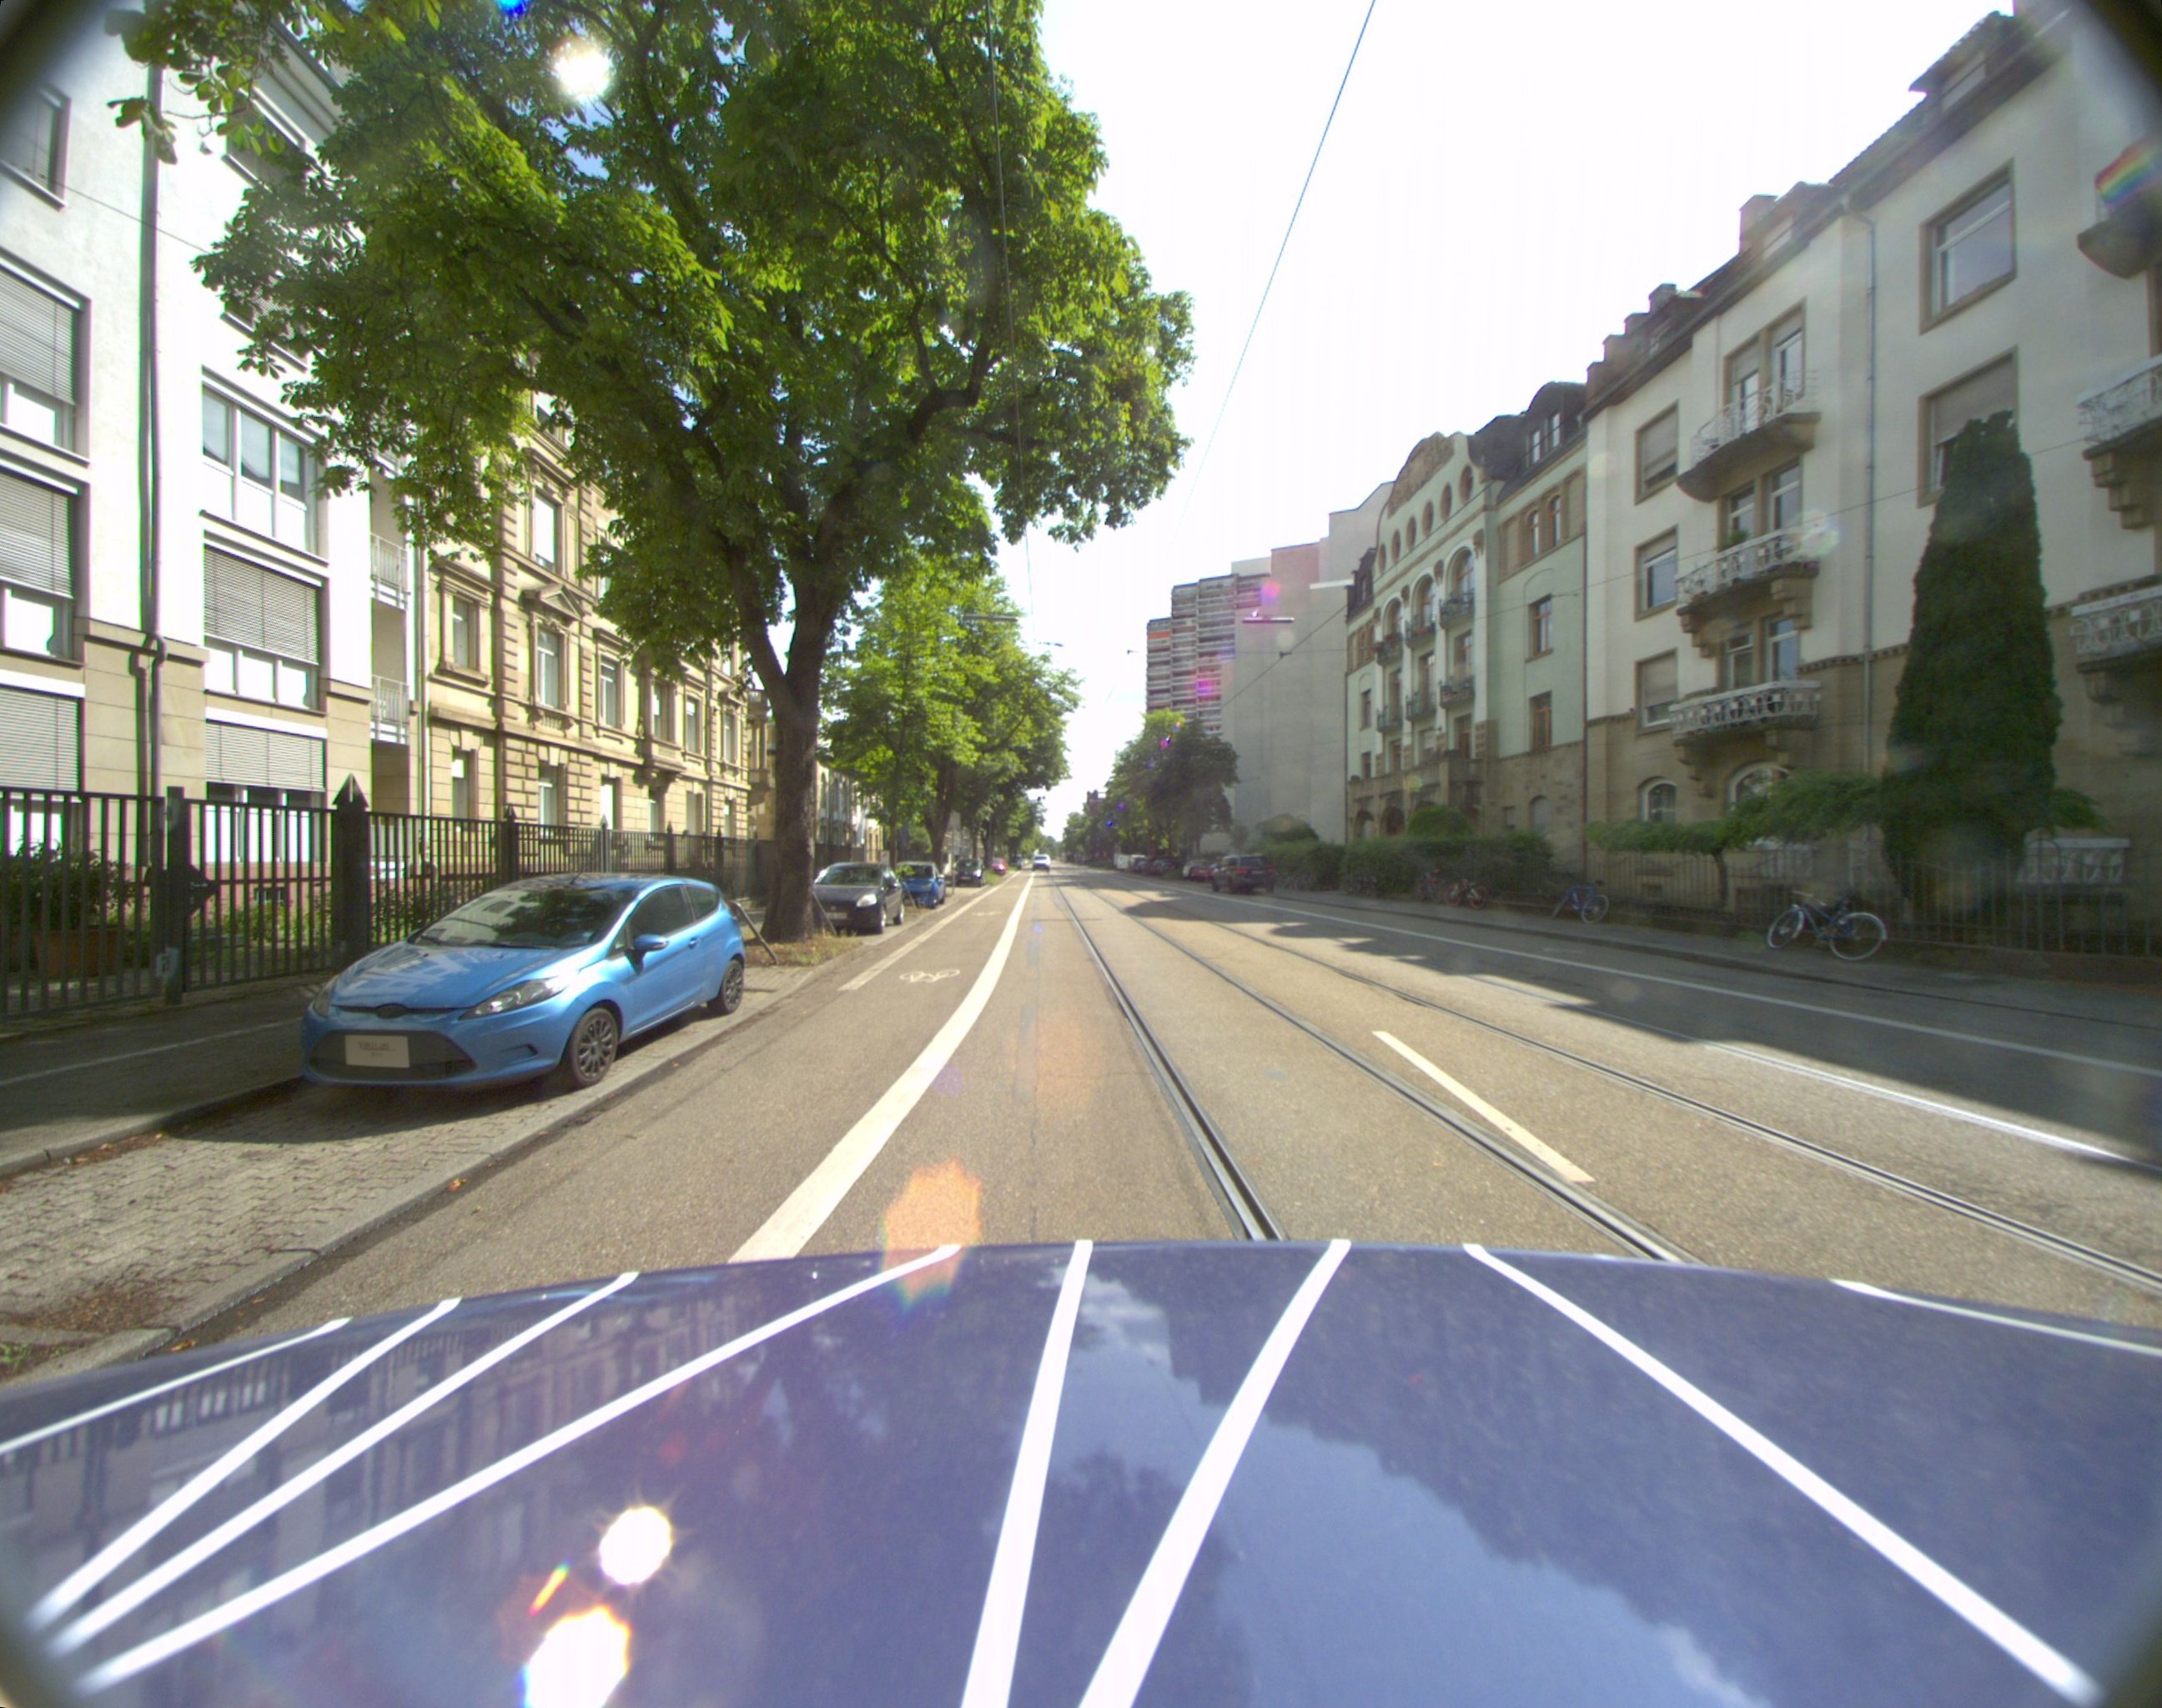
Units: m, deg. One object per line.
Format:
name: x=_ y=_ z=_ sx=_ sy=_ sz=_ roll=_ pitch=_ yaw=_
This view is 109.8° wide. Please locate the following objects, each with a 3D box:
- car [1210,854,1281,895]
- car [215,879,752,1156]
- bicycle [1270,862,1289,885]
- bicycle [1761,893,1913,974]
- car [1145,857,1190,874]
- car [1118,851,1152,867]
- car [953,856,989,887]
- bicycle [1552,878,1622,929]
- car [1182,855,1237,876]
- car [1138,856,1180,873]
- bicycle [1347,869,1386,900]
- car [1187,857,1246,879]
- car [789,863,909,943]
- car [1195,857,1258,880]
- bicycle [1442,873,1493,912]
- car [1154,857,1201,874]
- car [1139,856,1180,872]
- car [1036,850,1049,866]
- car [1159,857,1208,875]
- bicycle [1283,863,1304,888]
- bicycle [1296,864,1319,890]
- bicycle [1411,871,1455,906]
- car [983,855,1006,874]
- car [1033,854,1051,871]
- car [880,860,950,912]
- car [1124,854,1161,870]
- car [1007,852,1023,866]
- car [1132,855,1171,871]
car: x=7.241 y=0.851 z=33.937 sx=1.922 sy=1.685 sz=4.400 roll=0 pitch=0 yaw=-5
car: x=-4.318 y=1.039 z=6.327 sx=1.647 sy=1.467 sz=3.660 roll=2 pitch=0 yaw=-3
bicycle: x=9.958 y=0.952 z=38.117 sx=0.468 sy=1.128 sz=1.787 roll=0 pitch=0 yaw=-1
bicycle: x=11.097 y=1.121 z=11.254 sx=0.467 sy=0.990 sz=1.979 roll=0 pitch=0 yaw=7
car: x=7.872 y=1.017 z=69.281 sx=3.994 sy=1.499 sz=2.001 roll=0 pitch=0 yaw=8
car: x=6.365 y=0.550 z=89.384 sx=1.994 sy=1.740 sz=4.008 roll=-1 pitch=1 yaw=41
car: x=-6.247 y=0.970 z=43.415 sx=1.744 sy=1.564 sz=3.659 roll=2 pitch=0 yaw=-4
bicycle: x=10.947 y=1.048 z=16.498 sx=0.467 sy=0.990 sz=1.787 roll=0 pitch=0 yaw=5
car: x=9.617 y=0.864 z=56.959 sx=3.994 sy=1.499 sz=2.001 roll=0 pitch=0 yaw=8
car: x=7.465 y=0.991 z=72.490 sx=3.994 sy=1.499 sz=2.001 roll=0 pitch=0 yaw=8
bicycle: x=10.100 y=1.064 z=26.968 sx=0.605 sy=0.990 sz=1.981 roll=0 pitch=0 yaw=-1
car: x=9.484 y=0.947 z=53.411 sx=3.994 sy=1.499 sz=2.001 roll=0 pitch=0 yaw=8
car: x=-4.920 y=0.978 z=16.625 sx=1.679 sy=1.467 sz=3.659 roll=2 pitch=0 yaw=-4
car: x=9.521 y=0.938 z=49.903 sx=3.994 sy=1.499 sz=2.001 roll=0 pitch=0 yaw=8
bicycle: x=10.653 y=1.036 z=20.982 sx=0.468 sy=0.990 sz=1.787 roll=0 pitch=0 yaw=-1
car: x=8.373 y=0.979 z=66.163 sx=3.994 sy=1.499 sz=2.001 roll=0 pitch=0 yaw=8
car: x=7.791 y=0.988 z=75.651 sx=3.994 sy=1.499 sz=2.001 roll=0 pitch=0 yaw=8
car: x=-6.565 y=0.693 z=129.977 sx=2.146 sy=2.568 sz=4.817 roll=0 pitch=0 yaw=-2
car: x=8.472 y=0.966 z=63.007 sx=3.994 sy=1.499 sz=2.001 roll=0 pitch=0 yaw=8
bicycle: x=10.060 y=0.996 z=36.020 sx=0.468 sy=1.128 sz=1.787 roll=0 pitch=0 yaw=-1
bicycle: x=10.143 y=1.017 z=34.078 sx=0.468 sy=1.128 sz=1.787 roll=0 pitch=0 yaw=-1
bicycle: x=10.687 y=1.030 z=23.114 sx=0.468 sy=0.990 sz=1.787 roll=0 pitch=0 yaw=-1
car: x=-7.495 y=0.915 z=66.370 sx=1.744 sy=1.564 sz=3.928 roll=2 pitch=0 yaw=-4
car: x=-4.425 y=0.943 z=86.810 sx=1.974 sy=1.901 sz=4.817 roll=0 pitch=0 yaw=-2
car: x=-5.334 y=0.997 z=24.839 sx=1.679 sy=1.467 sz=3.659 roll=2 pitch=0 yaw=-4
car: x=6.788 y=0.889 z=83.550 sx=3.994 sy=1.672 sz=2.001 roll=0 pitch=0 yaw=8
car: x=-7.884 y=0.555 z=91.044 sx=1.744 sy=1.564 sz=3.928 roll=2 pitch=0 yaw=-4
car: x=7.372 y=0.907 z=79.125 sx=3.994 sy=1.672 sz=2.001 roll=0 pitch=0 yaw=8
